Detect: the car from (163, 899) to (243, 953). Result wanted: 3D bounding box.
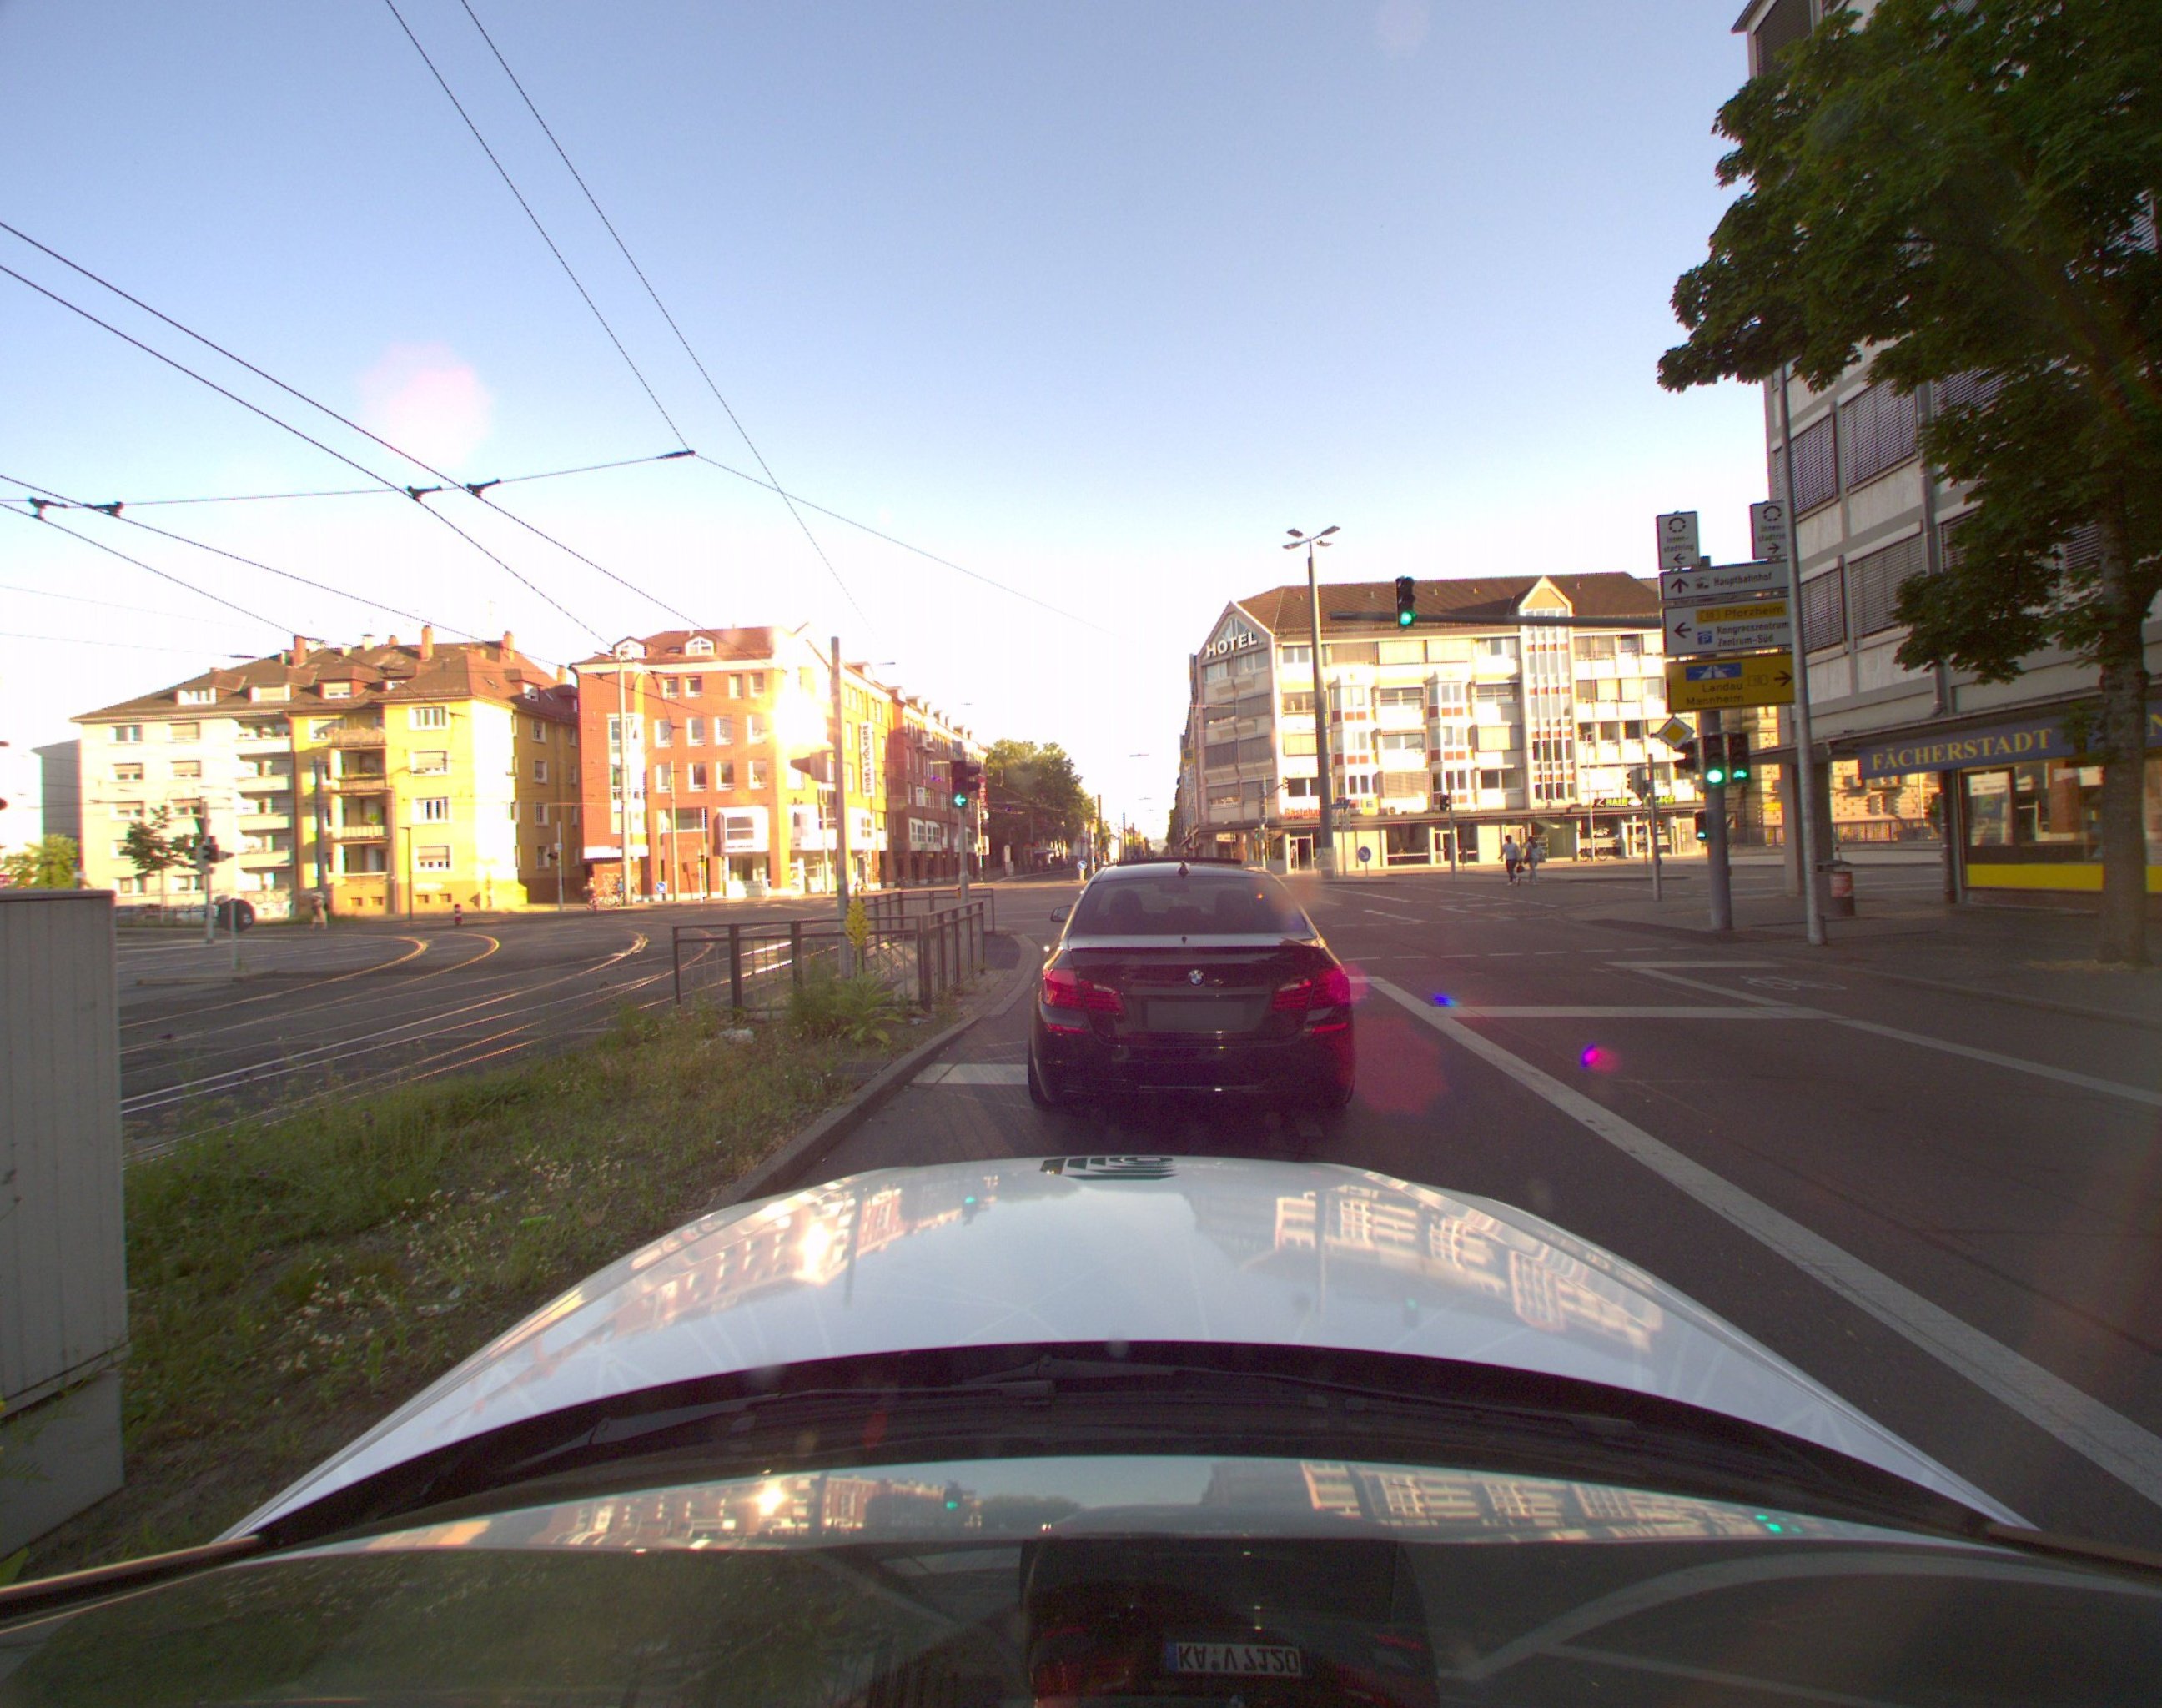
[{"bbox_3d":[-58.634,4.792,54.396,3.542,1.409,1.741,-44,-7,1],"label":"car"}]

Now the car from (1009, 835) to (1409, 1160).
[{"bbox_3d":[0.658,0.674,5.917,1.834,1.495,4.294,0,0,2],"label":"car"}]

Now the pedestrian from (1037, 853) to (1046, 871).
[{"bbox_3d":[-4.324,0.880,89.359,0.805,2.013,0.678,-3,-1,2],"label":"pedestrian"}]

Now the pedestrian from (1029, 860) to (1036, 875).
[{"bbox_3d":[-5.369,1.465,89.667,0.582,1.657,0.678,-3,0,2],"label":"pedestrian"}]

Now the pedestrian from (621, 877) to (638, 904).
[{"bbox_3d":[-30.193,2.448,54.433,0.636,1.778,0.814,-3,-1,-5],"label":"pedestrian"}]

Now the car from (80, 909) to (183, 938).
[{"bbox_3d":[-63.674,4.622,54.664,4.321,1.705,2.118,-2,-3,0],"label":"car"}]

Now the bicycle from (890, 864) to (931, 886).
[{"bbox_3d":[-15.153,1.863,72.290,3.281,1.726,1.071,-3,0,5],"label":"bicycle"}]

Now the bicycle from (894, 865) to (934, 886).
[{"bbox_3d":[-15.029,1.893,73.454,3.282,1.726,1.070,-3,0,4],"label":"bicycle"}]

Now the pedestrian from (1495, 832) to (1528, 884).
[{"bbox_3d":[14.068,0.139,26.635,0.718,1.649,0.776,-3,-1,41],"label":"pedestrian"}]

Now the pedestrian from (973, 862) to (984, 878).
[{"bbox_3d":[-12.833,1.991,102.075,1.081,2.013,1.085,-3,-1,1],"label":"pedestrian"}]

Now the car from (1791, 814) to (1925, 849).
[{"bbox_3d":[40.258,-1.155,42.312,4.569,1.556,2.229,2,-1,10],"label":"car"}]

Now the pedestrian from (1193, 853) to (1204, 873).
[{"bbox_3d":[9.187,0.714,63.861,0.703,1.548,0.907,-1,3,2],"label":"pedestrian"}]

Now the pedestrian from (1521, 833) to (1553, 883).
[{"bbox_3d":[15.078,0.134,26.930,0.696,1.582,0.831,-3,-1,41],"label":"pedestrian"}]

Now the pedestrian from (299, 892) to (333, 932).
[{"bbox_3d":[-30.818,2.345,32.810,0.629,1.541,0.711,-3,0,18],"label":"pedestrian"}]
